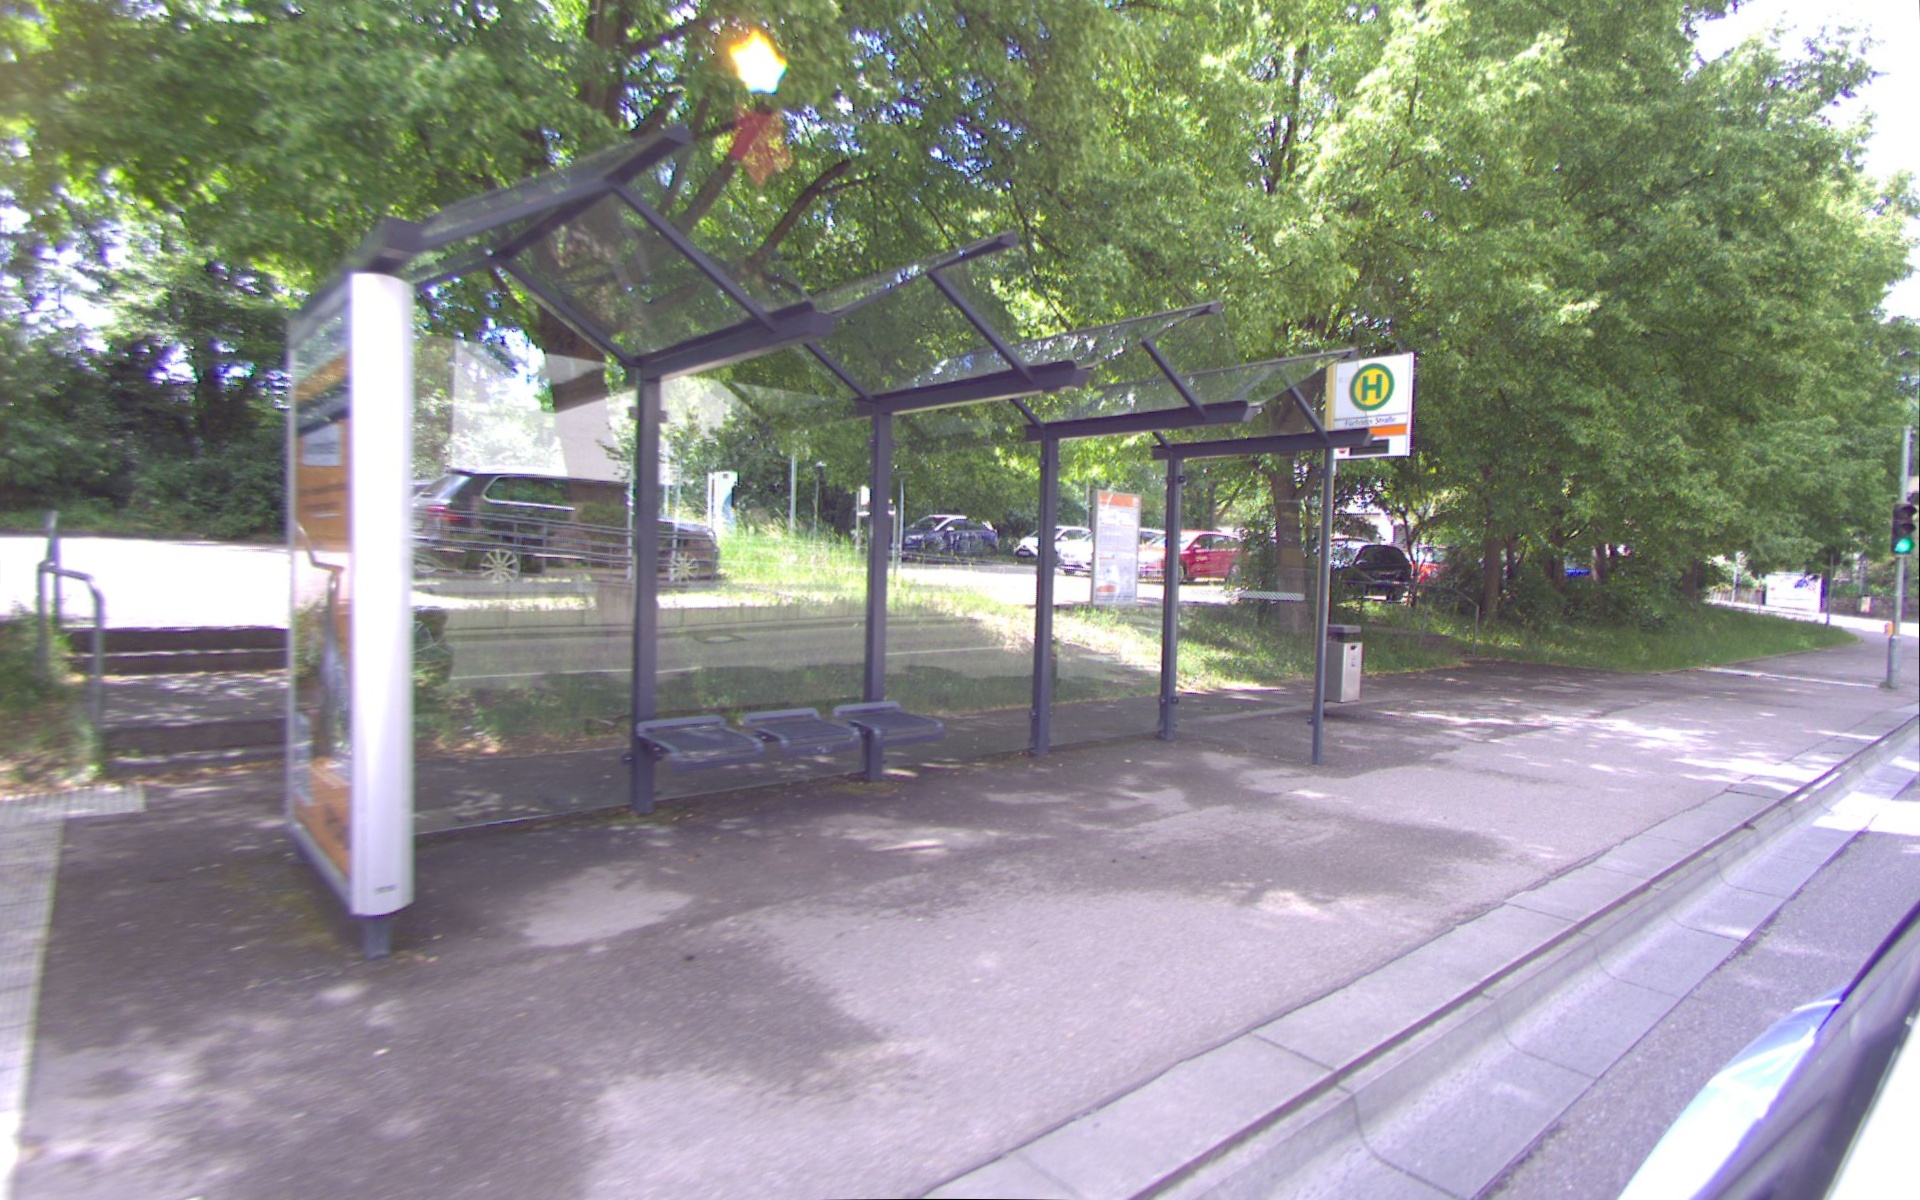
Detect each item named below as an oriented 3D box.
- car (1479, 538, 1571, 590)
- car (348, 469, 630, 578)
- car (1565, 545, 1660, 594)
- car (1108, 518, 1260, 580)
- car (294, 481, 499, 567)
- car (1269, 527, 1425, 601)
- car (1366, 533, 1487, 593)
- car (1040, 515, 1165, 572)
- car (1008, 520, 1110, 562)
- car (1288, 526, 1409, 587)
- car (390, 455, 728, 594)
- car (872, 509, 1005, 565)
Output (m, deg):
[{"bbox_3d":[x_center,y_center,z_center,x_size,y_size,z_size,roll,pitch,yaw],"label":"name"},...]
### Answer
[{"bbox_3d":[20.215,-1.314,36.186,3.841,1.653,1.681,-2,7,-43],"label":"car"},{"bbox_3d":[-7.388,-1.214,16.043,3.730,1.509,1.691,-3,7,-42],"label":"car"},{"bbox_3d":[22.193,-1.085,34.392,3.751,1.529,1.826,-3,5,-43],"label":"car"},{"bbox_3d":[6.284,-1.390,28.165,4.465,1.495,1.756,0,5,-41],"label":"car"},{"bbox_3d":[-9.527,-1.282,17.191,2.811,1.318,1.411,-3,7,-42],"label":"car"},{"bbox_3d":[9.197,-0.831,23.931,4.066,1.532,1.631,0,6,-41],"label":"car"},{"bbox_3d":[13.038,-1.016,28.203,3.599,1.518,1.665,0,5,-41],"label":"car"},{"bbox_3d":[4.224,-1.645,29.792,3.599,1.495,1.635,0,5,-41],"label":"car"},{"bbox_3d":[3.639,-2.122,36.831,3.599,1.344,1.635,0,5,-41],"label":"car"},{"bbox_3d":[11.450,-1.267,29.774,3.599,1.601,1.756,0,5,-41],"label":"car"},{"bbox_3d":[-5.639,-1.088,14.534,4.190,1.713,1.691,-3,7,-42],"label":"car"},{"bbox_3d":[-0.678,-2.039,33.498,4.030,1.644,2.062,0,3,-42],"label":"car"}]
